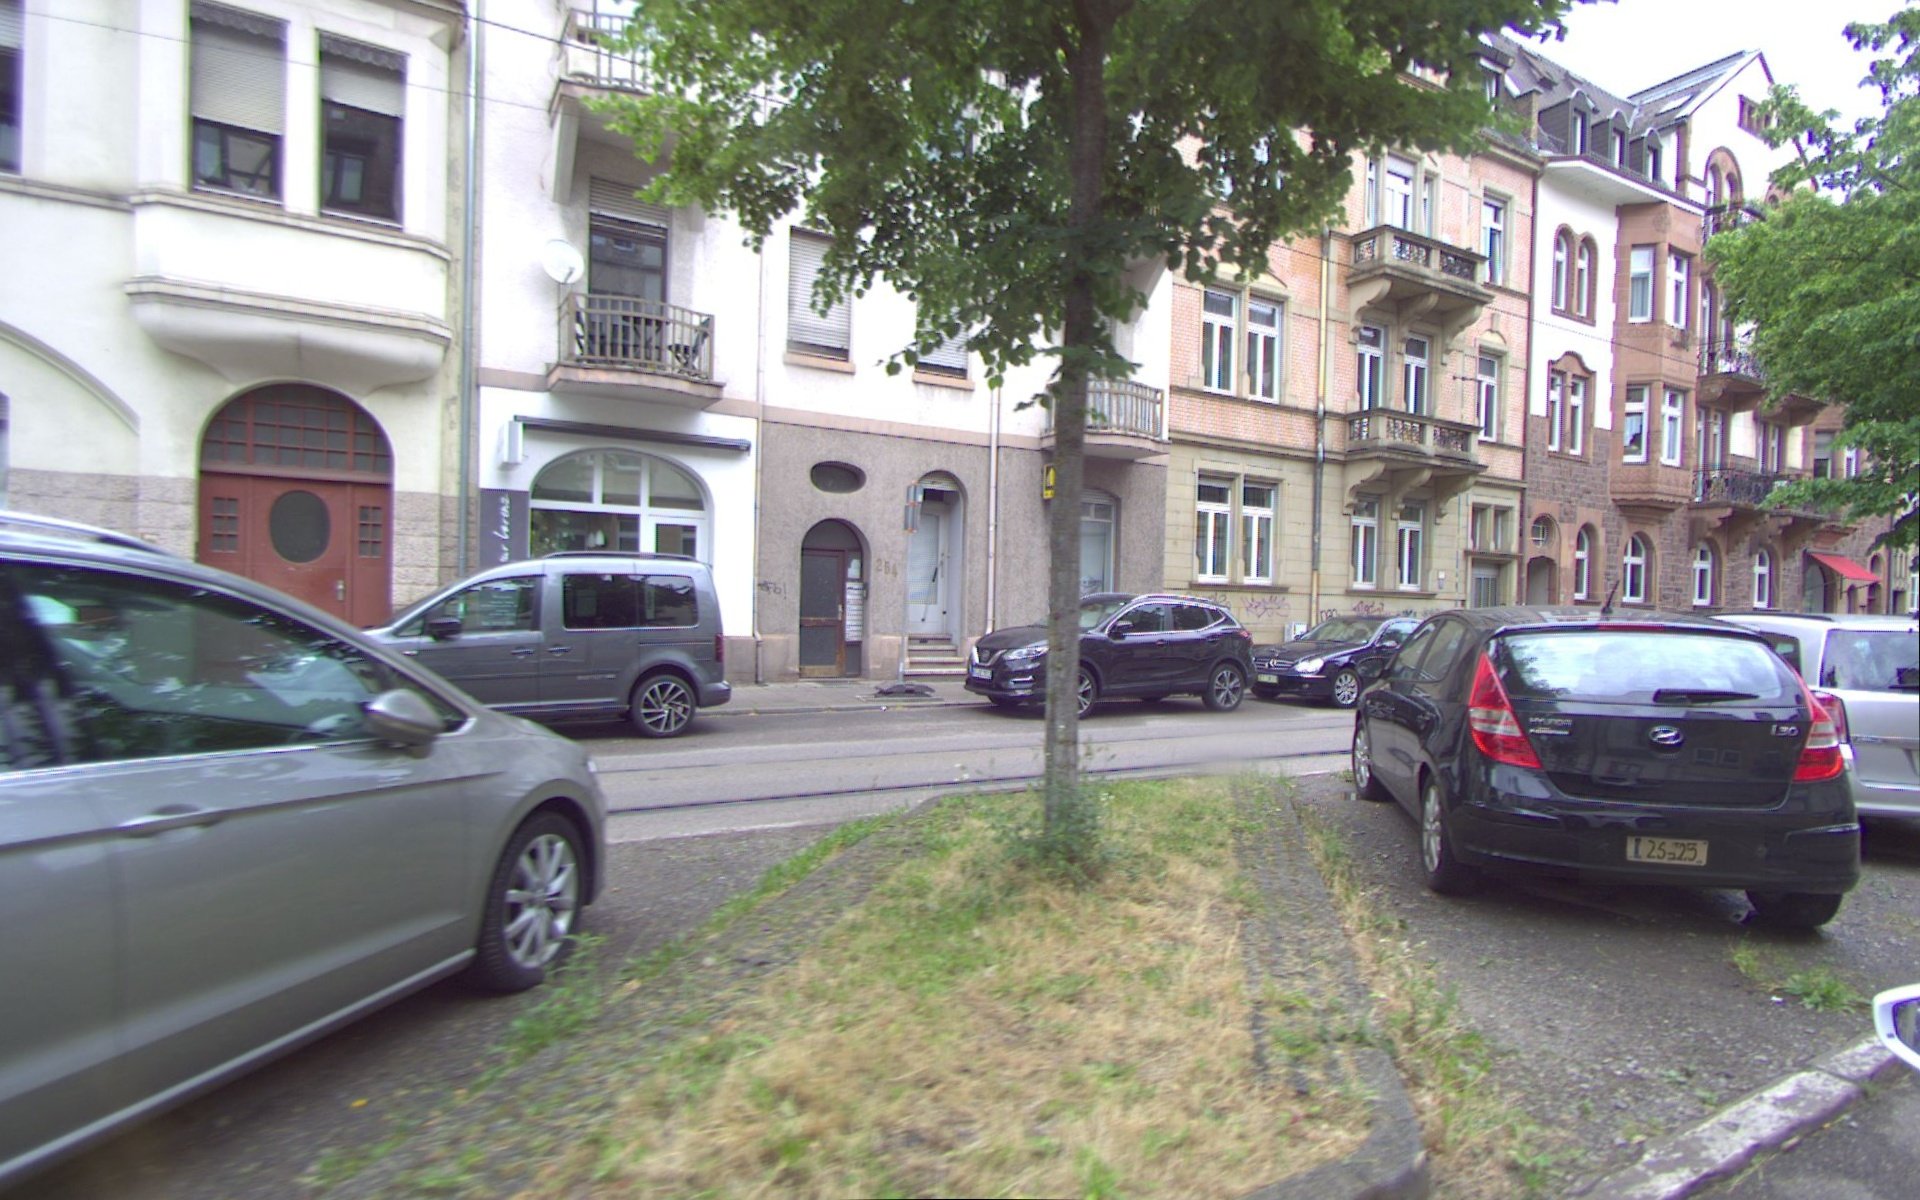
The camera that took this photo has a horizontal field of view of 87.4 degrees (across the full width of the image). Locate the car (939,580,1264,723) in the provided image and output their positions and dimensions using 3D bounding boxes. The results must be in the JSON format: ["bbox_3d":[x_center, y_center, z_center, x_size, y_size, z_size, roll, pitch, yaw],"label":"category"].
[{"bbox_3d":[1.997,0.659,13.803,4.224,1.702,1.795,2,0,-31],"label":"car"}]

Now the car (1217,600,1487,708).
[{"bbox_3d":[6.404,0.835,16.298,4.337,1.509,1.795,2,0,-31],"label":"car"}]

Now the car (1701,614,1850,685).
[{"bbox_3d":[19.977,1.191,24.596,3.680,1.580,1.653,2,0,-31],"label":"car"}]

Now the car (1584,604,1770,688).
[{"bbox_3d":[15.785,0.993,22.061,4.271,1.650,1.759,2,0,-31],"label":"car"}]

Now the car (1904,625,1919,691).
[{"bbox_3d":[23.907,1.397,23.249,4.599,1.472,1.795,2,0,-31],"label":"car"}]

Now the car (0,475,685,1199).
[{"bbox_3d":[-2.502,0.559,2.477,1.690,1.630,4.210,2,0,12],"label":"car"}]

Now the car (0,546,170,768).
[{"bbox_3d":[-8.951,0.392,7.615,4.445,1.682,1.840,1,0,-33],"label":"car"}]

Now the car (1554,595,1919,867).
[{"bbox_3d":[6.337,0.762,7.773,1.826,1.513,4.566,2,1,16],"label":"car"}]

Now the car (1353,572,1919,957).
[{"bbox_3d":[3.595,0.651,6.154,1.740,1.505,4.001,2,1,15],"label":"car"}]

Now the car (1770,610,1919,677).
[{"bbox_3d":[23.870,1.164,27.042,4.502,1.648,1.731,2,0,-31],"label":"car"}]

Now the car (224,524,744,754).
[{"bbox_3d":[-4.605,0.352,10.182,4.378,1.895,1.842,1,0,-30],"label":"car"}]

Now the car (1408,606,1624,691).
[{"bbox_3d":[10.796,0.911,19.441,4.182,1.457,1.795,2,0,-31],"label":"car"}]

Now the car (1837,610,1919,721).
[{"bbox_3d":[12.576,0.857,11.716,1.826,1.329,4.131,2,1,15],"label":"car"}]

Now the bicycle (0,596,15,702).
[{"bbox_3d":[-10.896,0.496,10.146,1.845,1.102,0.651,1,1,-29],"label":"bicycle"}]
